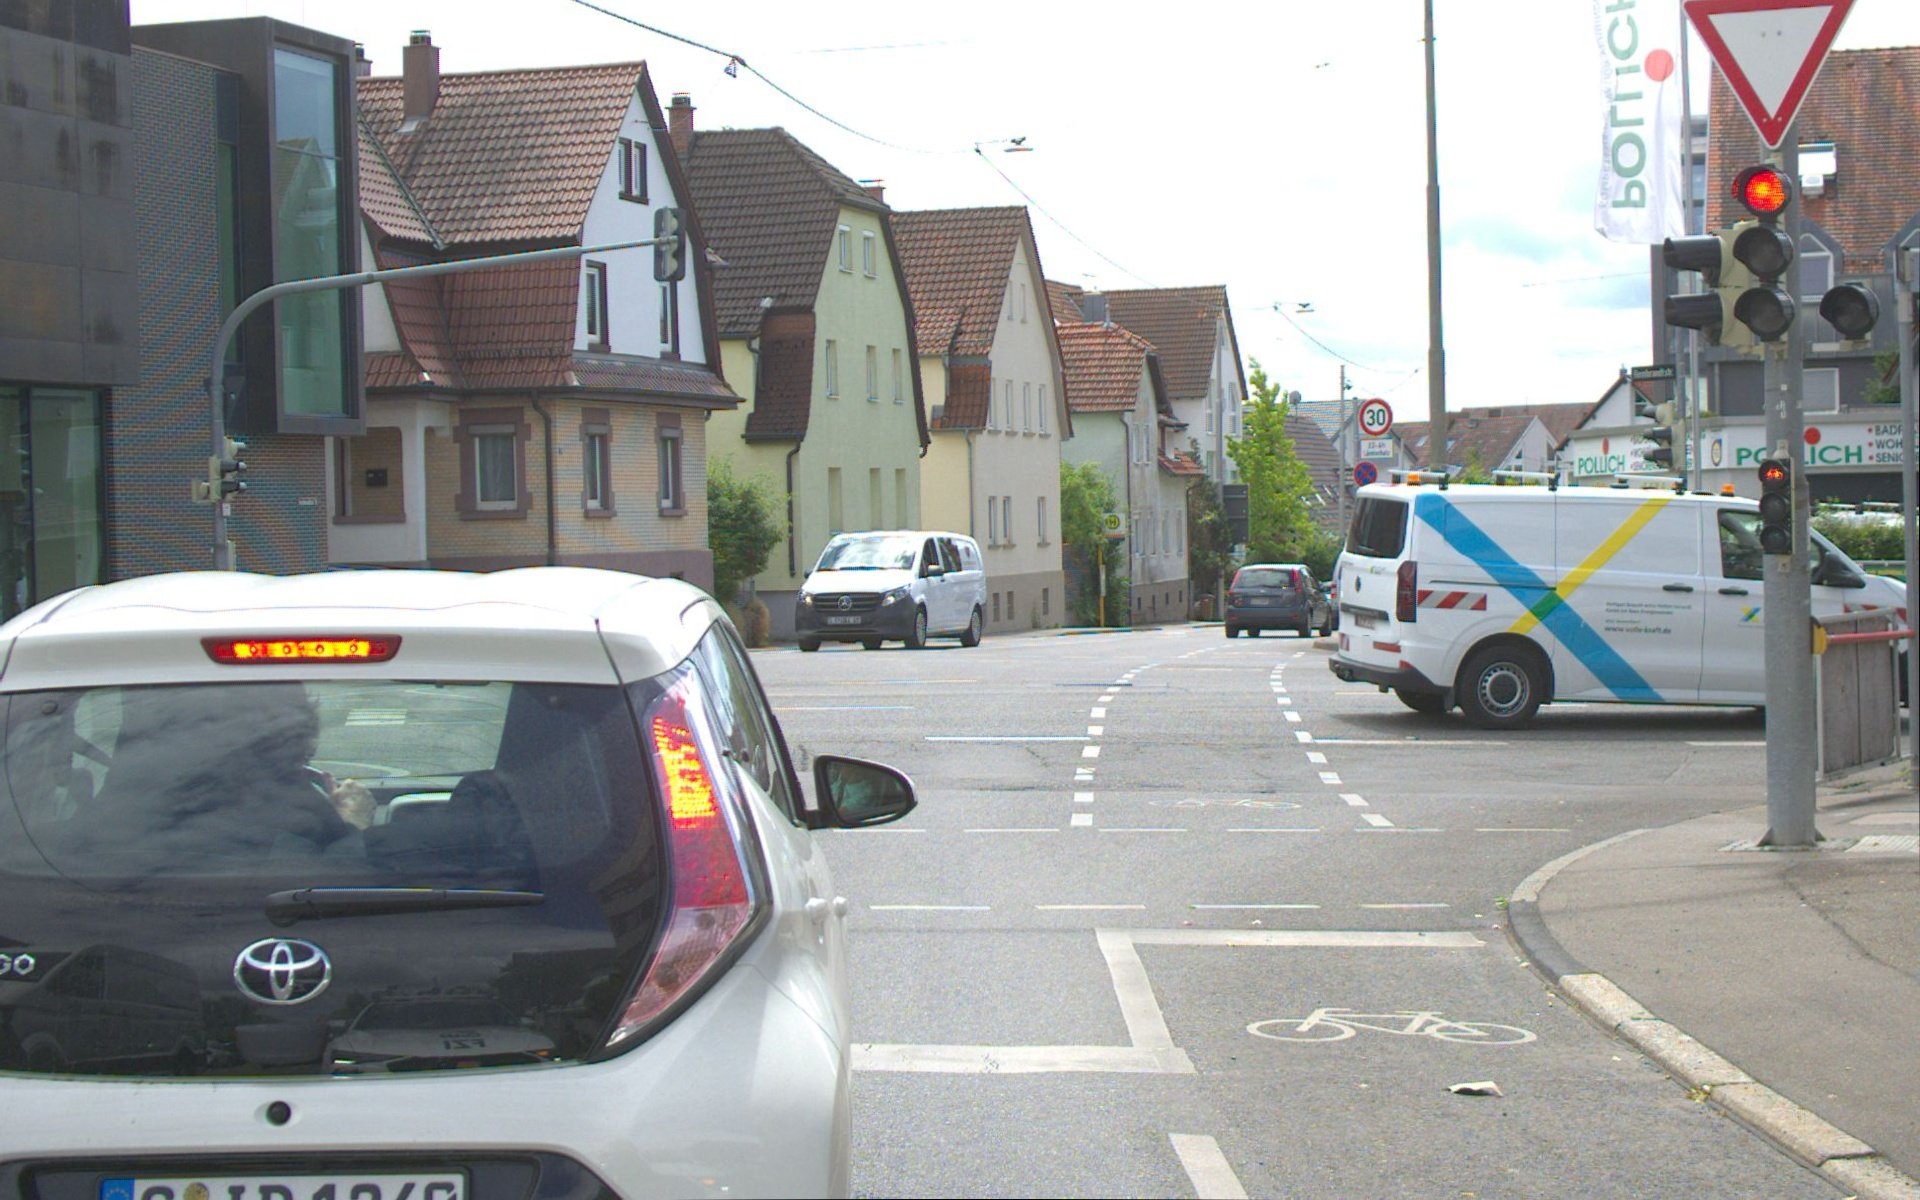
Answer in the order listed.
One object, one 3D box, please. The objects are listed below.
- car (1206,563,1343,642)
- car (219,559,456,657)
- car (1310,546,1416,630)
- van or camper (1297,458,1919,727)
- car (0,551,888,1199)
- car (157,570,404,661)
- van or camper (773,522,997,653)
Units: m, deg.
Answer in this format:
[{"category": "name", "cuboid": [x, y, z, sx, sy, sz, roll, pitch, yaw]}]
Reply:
[{"category": "car", "cuboid": [6.212, 0.019, 67.577, 1.995, 1.481, 3.997, 1, 1, 15]}, {"category": "car", "cuboid": [-10.641, 0.116, 58.878, 3.616, 1.600, 1.691, 1, 1, 11]}, {"category": "car", "cuboid": [9.290, -0.300, 79.040, 1.995, 1.842, 4.071, 1, 1, 13]}, {"category": "van or camper", "cuboid": [5.558, -0.059, 28.479, 5.116, 2.070, 2.001, 1, 1, -9]}, {"category": "car", "cuboid": [-1.022, 0.646, 6.264, 1.697, 1.451, 3.299, 1, 1, -2]}, {"category": "car", "cuboid": [-11.198, 0.234, 56.756, 3.616, 1.414, 1.691, 1, 1, 11]}, {"category": "van or camper", "cuboid": [-1.101, -0.222, 53.727, 2.117, 1.919, 5.282, 1, 1, 15]}]
